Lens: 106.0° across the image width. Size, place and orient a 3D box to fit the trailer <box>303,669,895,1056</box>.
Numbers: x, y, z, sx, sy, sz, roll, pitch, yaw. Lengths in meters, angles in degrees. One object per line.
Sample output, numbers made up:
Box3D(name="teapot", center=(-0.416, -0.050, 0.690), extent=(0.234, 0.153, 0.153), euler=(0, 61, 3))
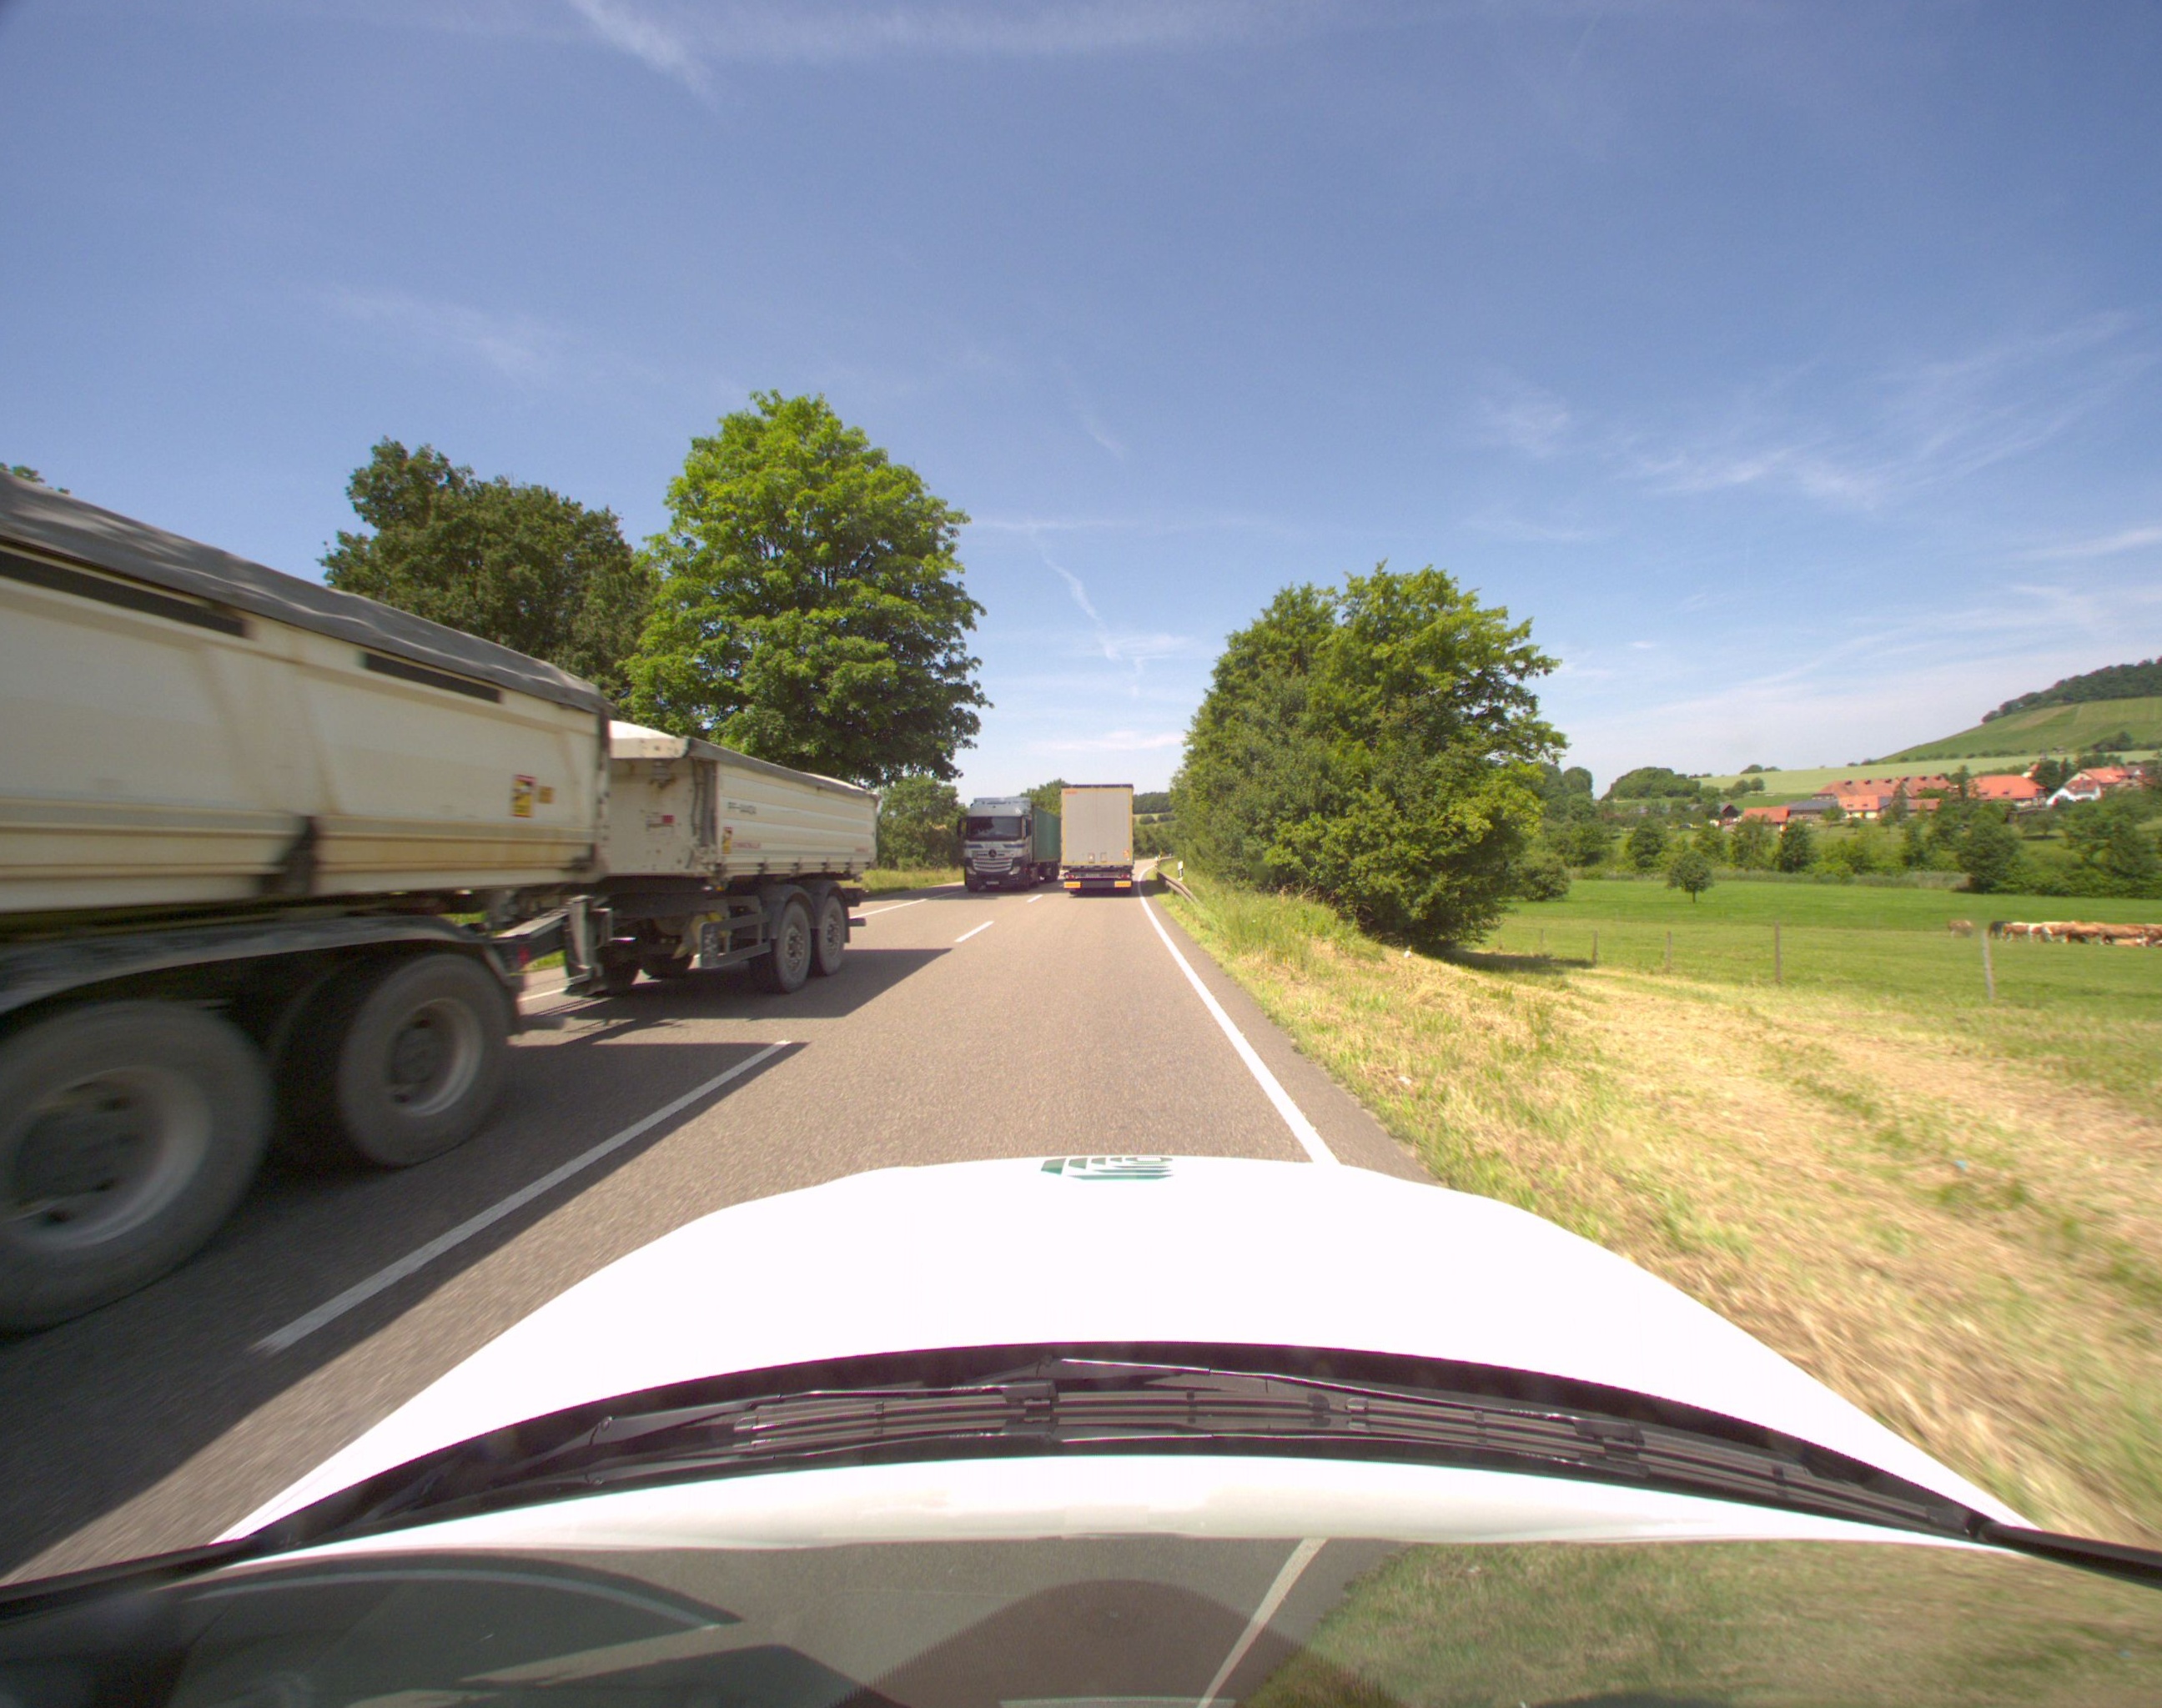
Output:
Box3D(name="trailer", center=(-4.453, 0.082, 9.678), extent=(2.634, 2.873, 7.079), euler=(-1, 0, 1))

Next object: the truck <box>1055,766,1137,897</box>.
Box3D(name="truck", center=(0.780, -0.818, 34.343), extent=(2.806, 4.532, 11.775), euler=(-1, 0, 2))

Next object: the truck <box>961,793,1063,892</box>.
Box3D(name="truck", center=(-2.972, -0.511, 40.759), extent=(2.549, 3.939, 16.179), euler=(0, 0, 4))

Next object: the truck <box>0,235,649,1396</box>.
Box3D(name="truck", center=(-4.582, -0.112, 2.146), extent=(2.521, 3.559, 7.763), euler=(-1, 0, 1))
